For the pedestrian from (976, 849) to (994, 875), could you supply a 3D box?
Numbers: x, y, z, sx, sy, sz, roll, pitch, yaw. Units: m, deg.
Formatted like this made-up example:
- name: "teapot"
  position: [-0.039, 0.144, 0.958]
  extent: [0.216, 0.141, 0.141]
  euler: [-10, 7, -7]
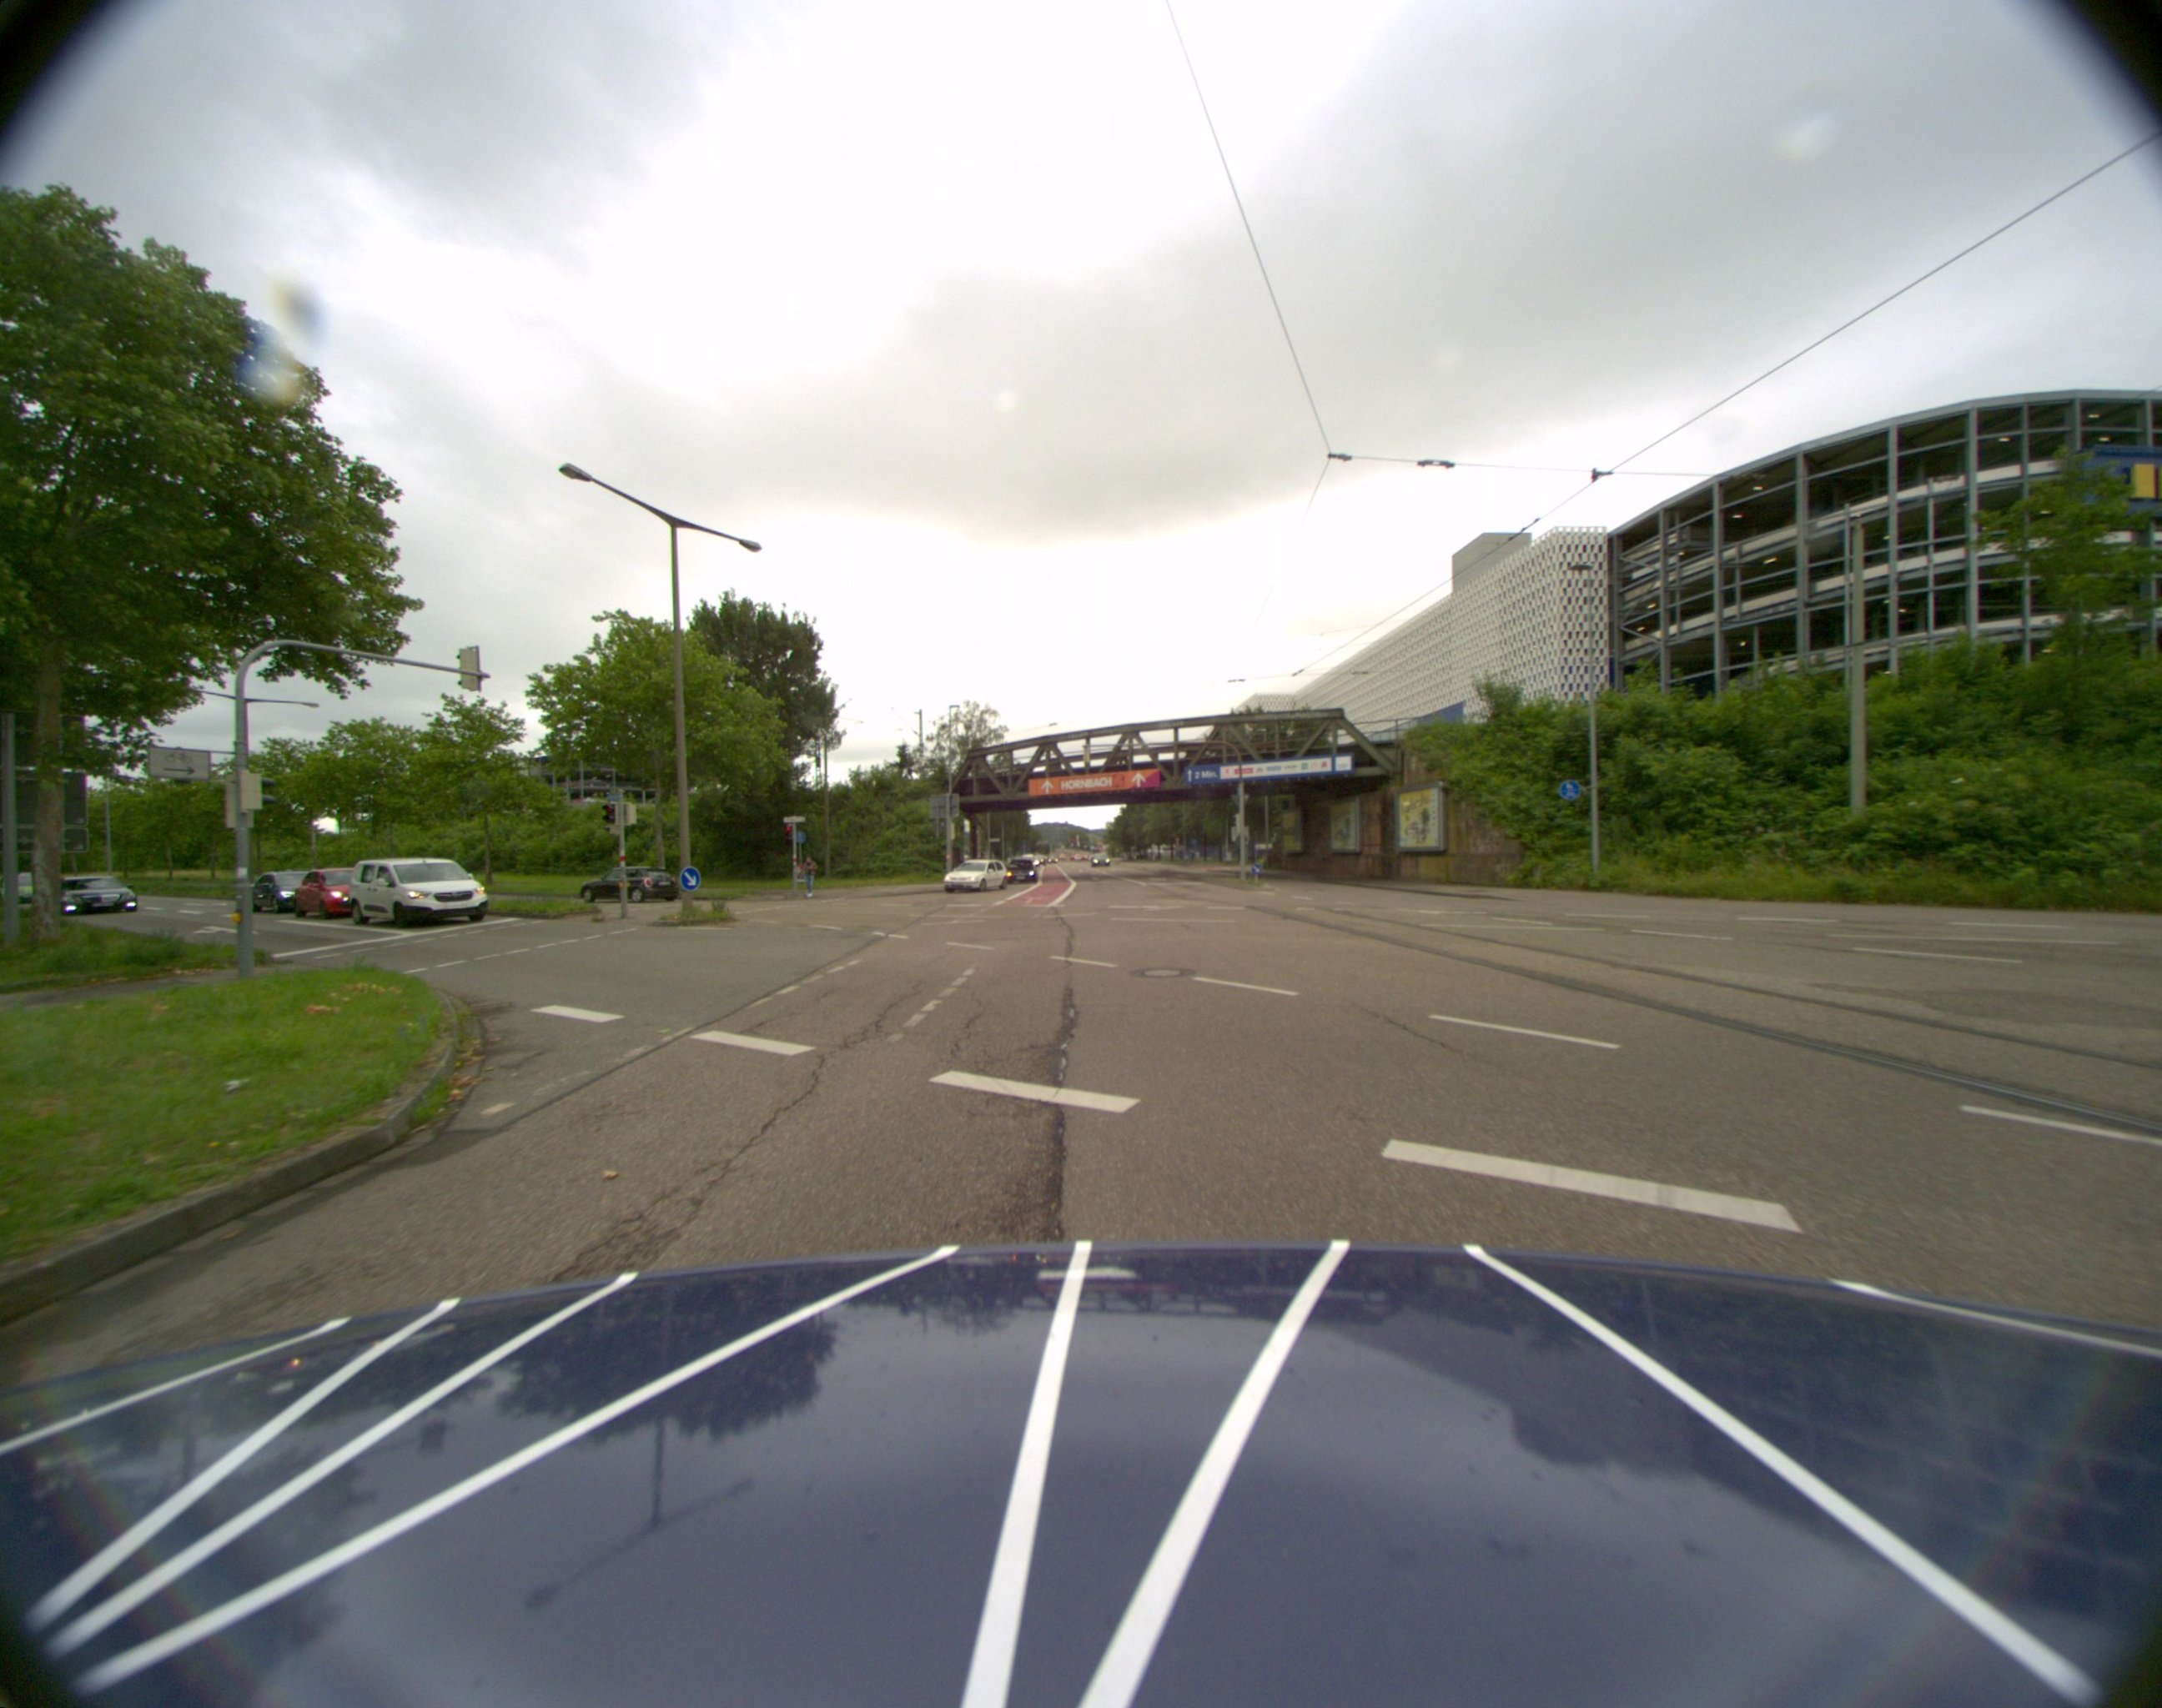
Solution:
- name: "pedestrian"
  position: [-6.497, 0.531, 51.280]
  extent: [0.785, 1.749, 0.876]
  euler: [-1, 1, 40]

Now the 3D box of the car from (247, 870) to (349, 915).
- name: "car"
  position: [-28.335, 1.334, 27.473]
  extent: [4.055, 1.473, 1.699]
  euler: [-1, 1, 32]

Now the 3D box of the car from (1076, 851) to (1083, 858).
- name: "car"
  position: [-0.518, 0.123, 224.940]
  extent: [1.772, 1.913, 4.907]
  euler: [0, 0, -4]

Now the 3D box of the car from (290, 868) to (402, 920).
- name: "car"
  position: [-23.641, 1.235, 24.416]
  extent: [3.678, 1.523, 1.699]
  euler: [-1, 1, 32]

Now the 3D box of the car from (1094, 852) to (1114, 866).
- name: "car"
  position: [2.452, 0.529, 83.455]
  extent: [1.837, 1.416, 3.999]
  euler: [-3, 0, -3]

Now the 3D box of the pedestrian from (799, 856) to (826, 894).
- name: "pedestrian"
  position: [-11.744, 0.924, 33.210]
  extent: [0.742, 1.630, 0.780]
  euler: [-1, 1, 24]

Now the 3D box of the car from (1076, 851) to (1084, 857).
- name: "car"
  position: [-0.308, -0.036, 211.043]
  extent: [1.823, 1.577, 4.510]
  euler: [1, 0, -6]

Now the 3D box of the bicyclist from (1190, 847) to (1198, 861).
- name: "bicyclist"
  position: [14.548, -0.012, 97.968]
  extent: [0.704, 1.864, 1.019]
  euler: [-3, 1, -2]

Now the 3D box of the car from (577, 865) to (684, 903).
- name: "car"
  position: [-17.877, 1.198, 30.170]
  extent: [3.765, 1.422, 1.688]
  euler: [-2, -2, 21]

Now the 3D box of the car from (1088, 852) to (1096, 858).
- name: "car"
  position: [2.830, 0.184, 193.530]
  extent: [1.681, 1.420, 3.649]
  euler: [0, 0, -6]

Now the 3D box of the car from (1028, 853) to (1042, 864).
- name: "car"
  position: [-6.316, 0.577, 103.945]
  extent: [1.837, 1.416, 3.999]
  euler: [-3, 0, -3]

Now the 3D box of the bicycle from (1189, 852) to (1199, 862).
- name: "bicycle"
  position: [14.563, 0.360, 97.972]
  extent: [0.715, 1.180, 2.370]
  euler: [-3, 1, -2]

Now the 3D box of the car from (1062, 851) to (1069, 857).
- name: "car"
  position: [-4.706, 0.138, 235.386]
  extent: [1.651, 1.788, 3.978]
  euler: [0, 0, -9]

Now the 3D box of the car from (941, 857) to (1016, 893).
- name: "car"
  position: [-4.647, 0.940, 35.041]
  extent: [1.724, 1.416, 3.946]
  euler: [-2, 0, 19]

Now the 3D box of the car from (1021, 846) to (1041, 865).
- name: "car"
  position: [-5.371, 0.162, 81.076]
  extent: [1.995, 1.838, 4.102]
  euler: [-1, 0, -6]

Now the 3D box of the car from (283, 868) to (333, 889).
- name: "car"
  position: [-52.629, 1.670, 51.745]
  extent: [3.410, 1.273, 1.656]
  euler: [-2, 0, 32]

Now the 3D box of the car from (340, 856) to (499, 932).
- name: "car"
  position: [-18.274, 1.041, 20.955]
  extent: [4.409, 1.818, 1.883]
  euler: [-1, 2, 30]

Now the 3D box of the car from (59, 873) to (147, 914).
- name: "car"
  position: [-38.832, 1.509, 30.141]
  extent: [4.055, 1.473, 1.699]
  euler: [-1, 1, 32]

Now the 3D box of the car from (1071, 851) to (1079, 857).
- name: "car"
  position: [-1.800, -0.094, 233.123]
  extent: [1.652, 1.788, 3.978]
  euler: [1, 0, -9]

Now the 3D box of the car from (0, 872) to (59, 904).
- name: "car"
  position: [-56.298, 1.798, 40.542]
  extent: [3.989, 1.524, 1.788]
  euler: [-2, 1, 33]

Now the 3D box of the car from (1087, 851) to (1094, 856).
- name: "car"
  position: [2.549, -0.078, 206.459]
  extent: [1.628, 1.414, 3.610]
  euler: [0, 0, -3]

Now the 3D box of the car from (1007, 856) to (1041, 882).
- name: "car"
  position: [-3.353, 0.867, 45.256]
  extent: [1.837, 1.416, 3.999]
  euler: [-3, 0, -3]
